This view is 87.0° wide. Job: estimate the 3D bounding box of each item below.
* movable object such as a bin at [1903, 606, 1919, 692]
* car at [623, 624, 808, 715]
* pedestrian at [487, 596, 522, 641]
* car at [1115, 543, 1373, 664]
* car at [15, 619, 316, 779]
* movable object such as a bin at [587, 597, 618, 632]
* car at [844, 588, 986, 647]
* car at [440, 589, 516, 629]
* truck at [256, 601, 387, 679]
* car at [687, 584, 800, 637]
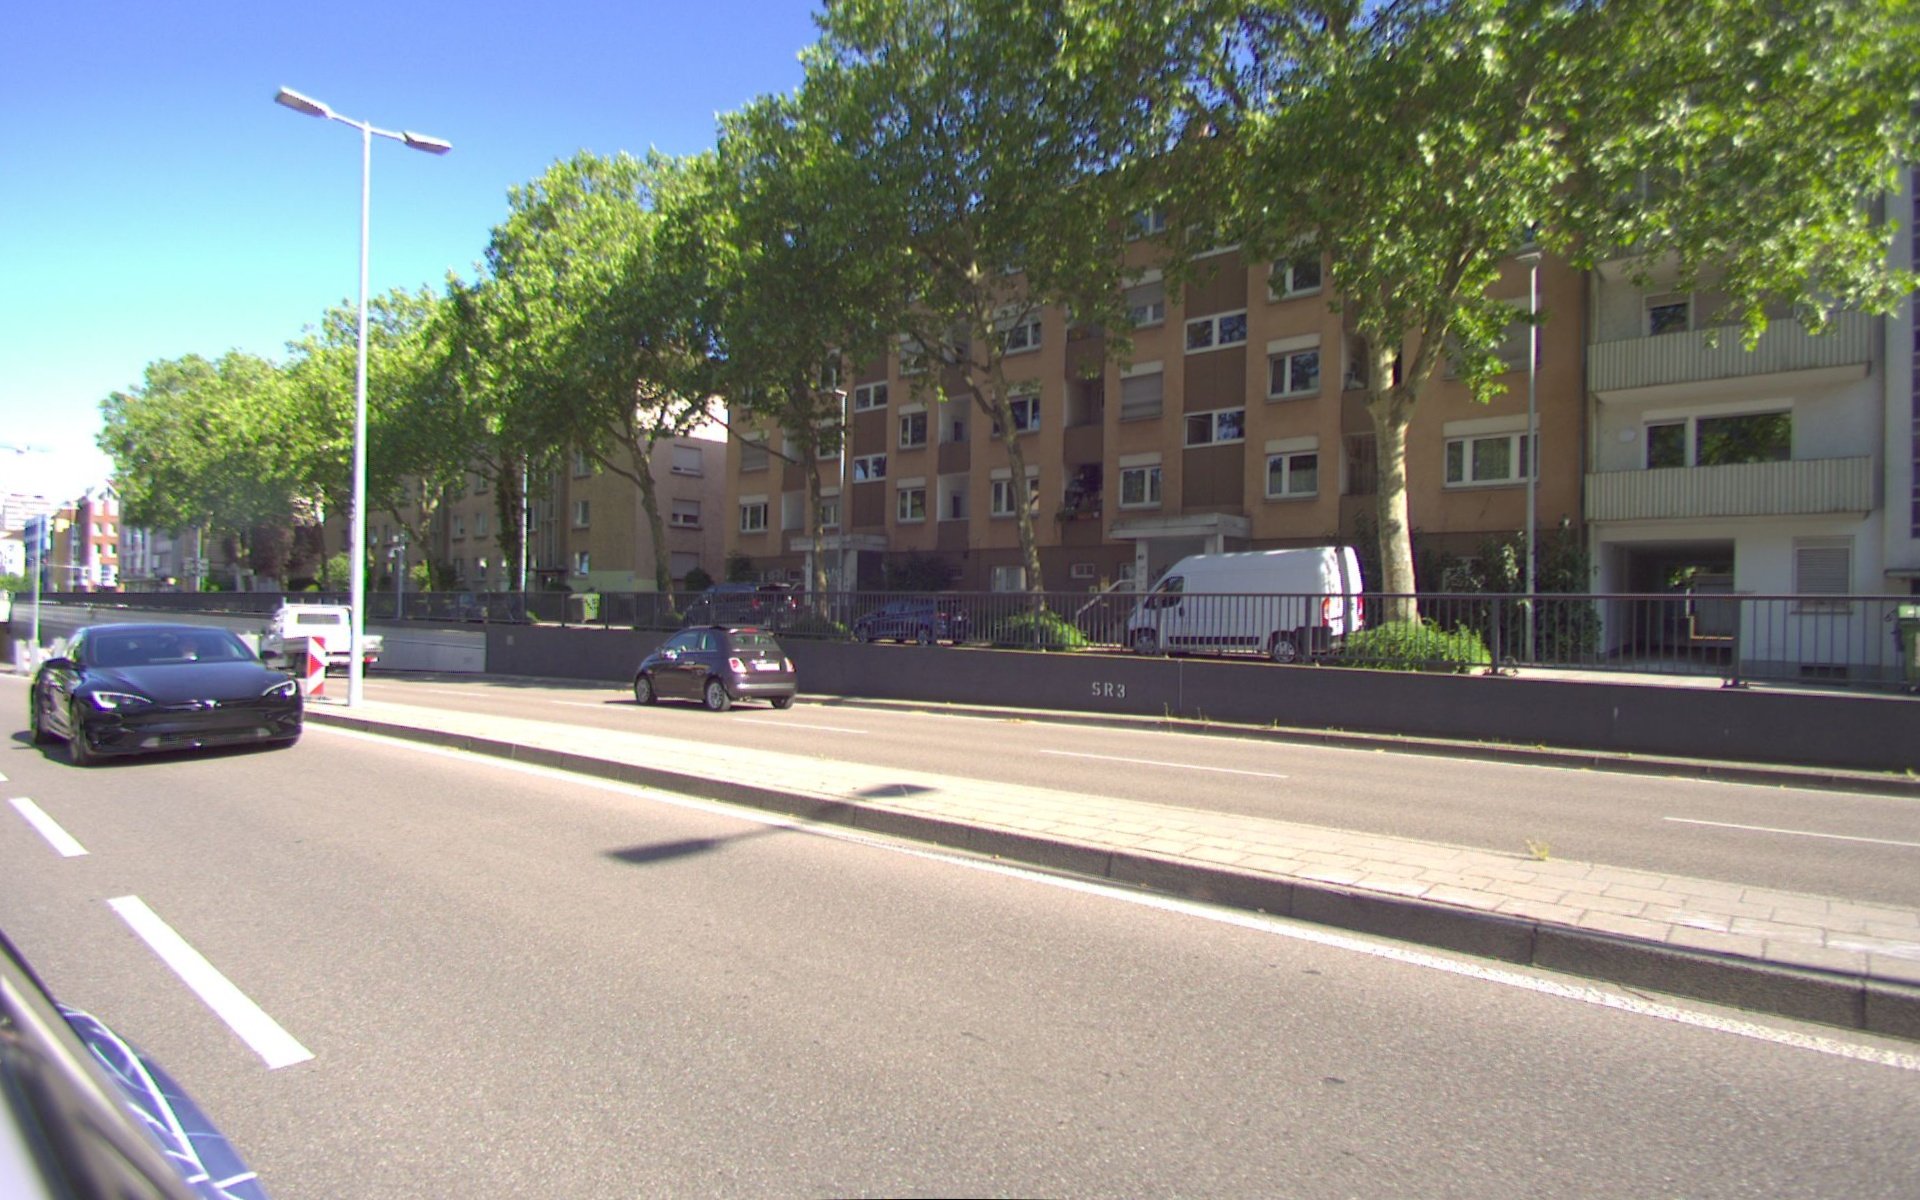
[{"bbox_3d":[15.908,0.788,16.064,1.314,1.373,0.883,-2,-4,41],"label":"movable object such as a bin"},{"bbox_3d":[-4.489,1.218,18.417,3.296,1.485,1.641,-2,-4,41],"label":"car"},{"bbox_3d":[-18.752,0.768,41.640,1.018,1.814,0.890,-1,-4,37],"label":"pedestrian"},{"bbox_3d":[6.398,0.178,23.221,5.287,2.465,2.220,-2,-4,43],"label":"car"},{"bbox_3d":[-9.301,0.983,11.689,4.623,1.422,1.905,-2,0,41],"label":"car"},{"bbox_3d":[-17.387,0.710,49.183,1.253,1.654,0.873,-2,-4,41],"label":"movable object such as a bin"},{"bbox_3d":[-1.388,0.562,30.274,3.999,1.592,1.972,-2,-4,42],"label":"car"},{"bbox_3d":[-24.103,0.503,50.560,3.998,1.864,1.972,-2,-4,41],"label":"car"},{"bbox_3d":[-21.393,1.346,33.813,5.366,2.413,2.255,-2,-4,42],"label":"truck"},{"bbox_3d":[-7.684,0.400,35.815,3.999,1.766,1.972,-2,-2,42],"label":"car"}]
